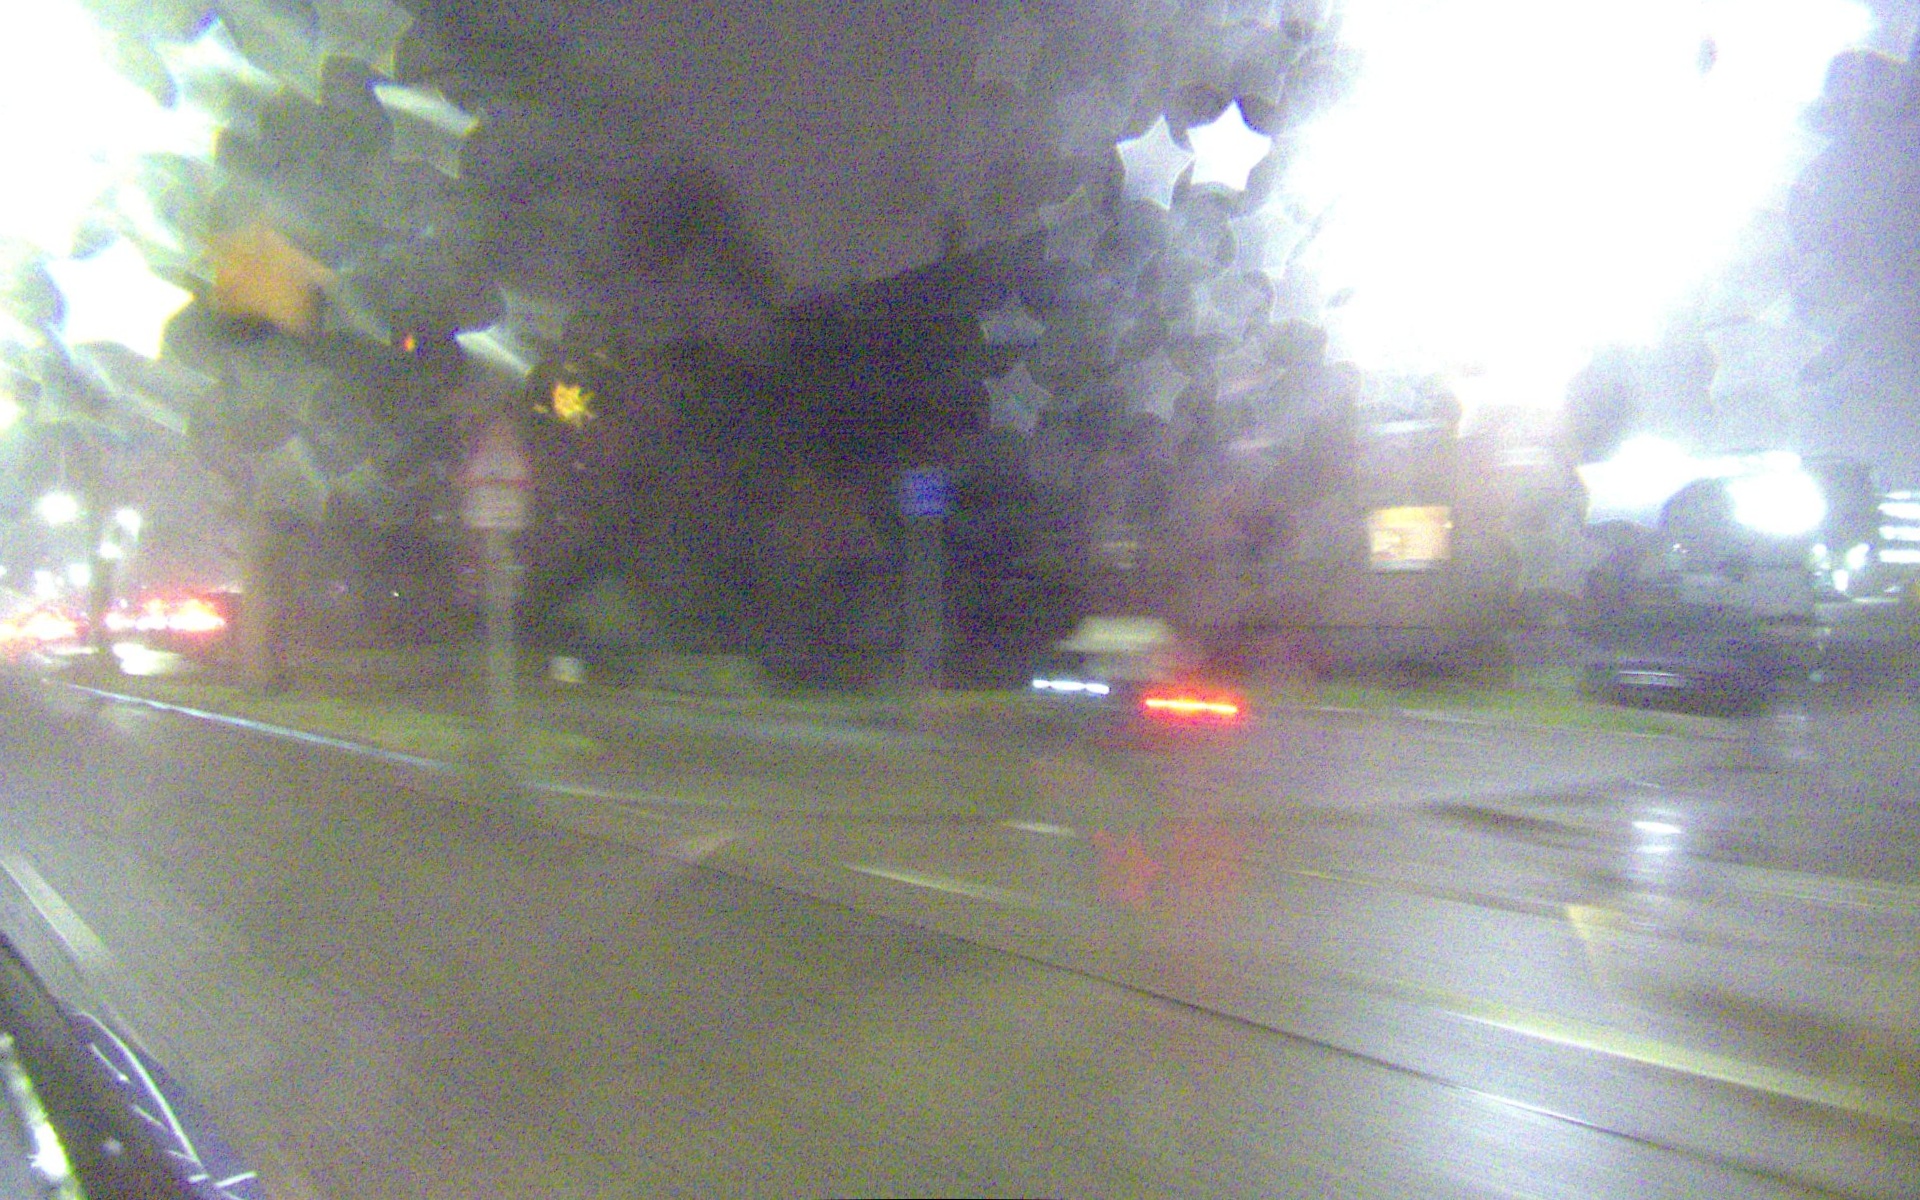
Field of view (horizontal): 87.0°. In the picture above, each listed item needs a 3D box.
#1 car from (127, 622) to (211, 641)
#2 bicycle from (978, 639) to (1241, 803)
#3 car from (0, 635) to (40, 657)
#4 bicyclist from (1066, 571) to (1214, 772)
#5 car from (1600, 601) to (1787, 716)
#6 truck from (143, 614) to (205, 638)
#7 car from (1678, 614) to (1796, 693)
[{"bbox_3d":[-78.120,3.077,100.120,1.988,1.829,6.389,-1,-1,24],"label":"car"},{"bbox_3d":[1.245,0.981,8.875,2.312,1.169,0.623,1,2,41],"label":"bicycle"},{"bbox_3d":[-69.083,3.336,74.366,1.969,1.466,4.309,5,-4,-41],"label":"car"},{"bbox_3d":[1.529,0.596,8.639,0.959,1.607,0.630,-5,-2,40],"label":"bicyclist"},{"bbox_3d":[10.787,0.761,14.768,4.028,1.381,1.495,1,2,-44],"label":"car"},{"bbox_3d":[-82.226,2.673,106.026,2.283,2.415,7.835,0,-1,-15],"label":"truck"},{"bbox_3d":[14.728,0.929,19.101,1.494,1.268,3.815,2,1,41],"label":"car"}]
